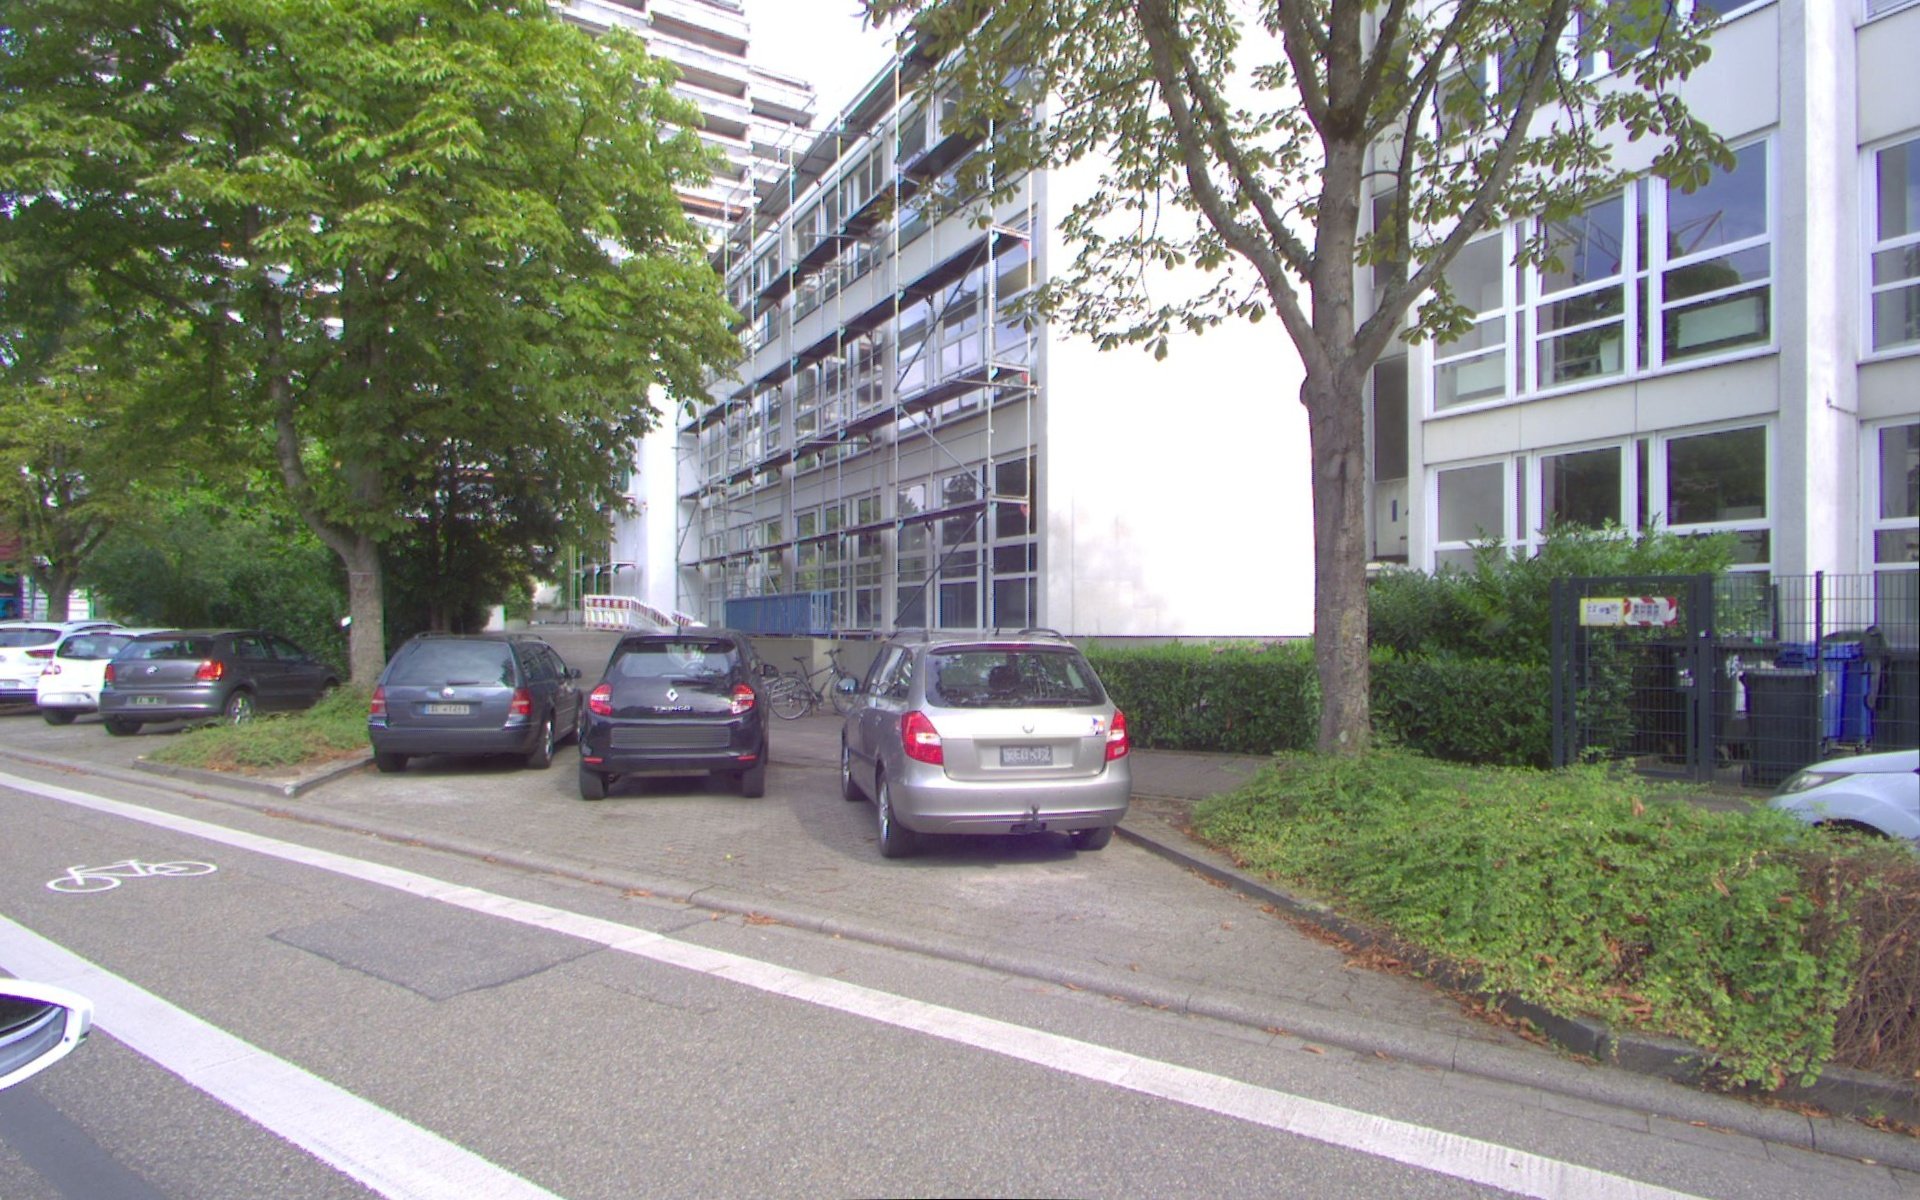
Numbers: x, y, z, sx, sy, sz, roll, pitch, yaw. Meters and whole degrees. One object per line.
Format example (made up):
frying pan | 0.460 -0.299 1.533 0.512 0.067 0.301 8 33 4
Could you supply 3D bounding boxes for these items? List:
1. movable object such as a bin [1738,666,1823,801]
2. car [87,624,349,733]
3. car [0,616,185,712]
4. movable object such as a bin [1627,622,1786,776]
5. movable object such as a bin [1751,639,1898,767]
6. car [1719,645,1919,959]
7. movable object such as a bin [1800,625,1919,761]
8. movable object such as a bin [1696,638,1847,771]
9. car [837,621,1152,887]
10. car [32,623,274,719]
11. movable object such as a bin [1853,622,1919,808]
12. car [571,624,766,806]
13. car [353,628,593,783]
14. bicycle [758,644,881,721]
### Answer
movable object such as a bin | 7.328 1.164 8.940 0.566 1.117 0.647 0 -2 42
car | -11.004 1.103 15.178 1.593 1.461 3.536 0 -1 -6
car | -16.184 1.106 18.333 1.530 1.593 3.447 0 -1 -6
movable object such as a bin | 8.027 1.023 10.781 1.105 1.542 1.072 2 -2 -33
movable object such as a bin | 10.113 1.165 11.733 1.021 1.385 1.072 2 -2 -33
car | 5.560 0.943 4.036 1.611 1.478 3.825 1 -2 -14
movable object such as a bin | 11.266 1.109 12.410 1.021 1.582 1.072 2 -2 -33
movable object such as a bin | 9.129 1.132 11.276 1.021 1.385 1.072 2 -2 -33
car | 0.012 0.967 7.811 1.610 1.541 3.738 1 -2 -12
car | -13.440 1.129 16.951 1.530 1.461 3.447 0 -1 -6
movable object such as a bin | 8.529 0.960 8.464 1.316 1.527 1.067 0 -2 34
car | -2.879 1.047 10.473 1.610 1.541 3.738 1 -2 -12
car | -5.395 1.081 11.586 1.610 1.477 3.738 1 -2 -12
bicycle | -2.316 1.339 16.571 1.943 1.143 0.536 -1 0 -27
